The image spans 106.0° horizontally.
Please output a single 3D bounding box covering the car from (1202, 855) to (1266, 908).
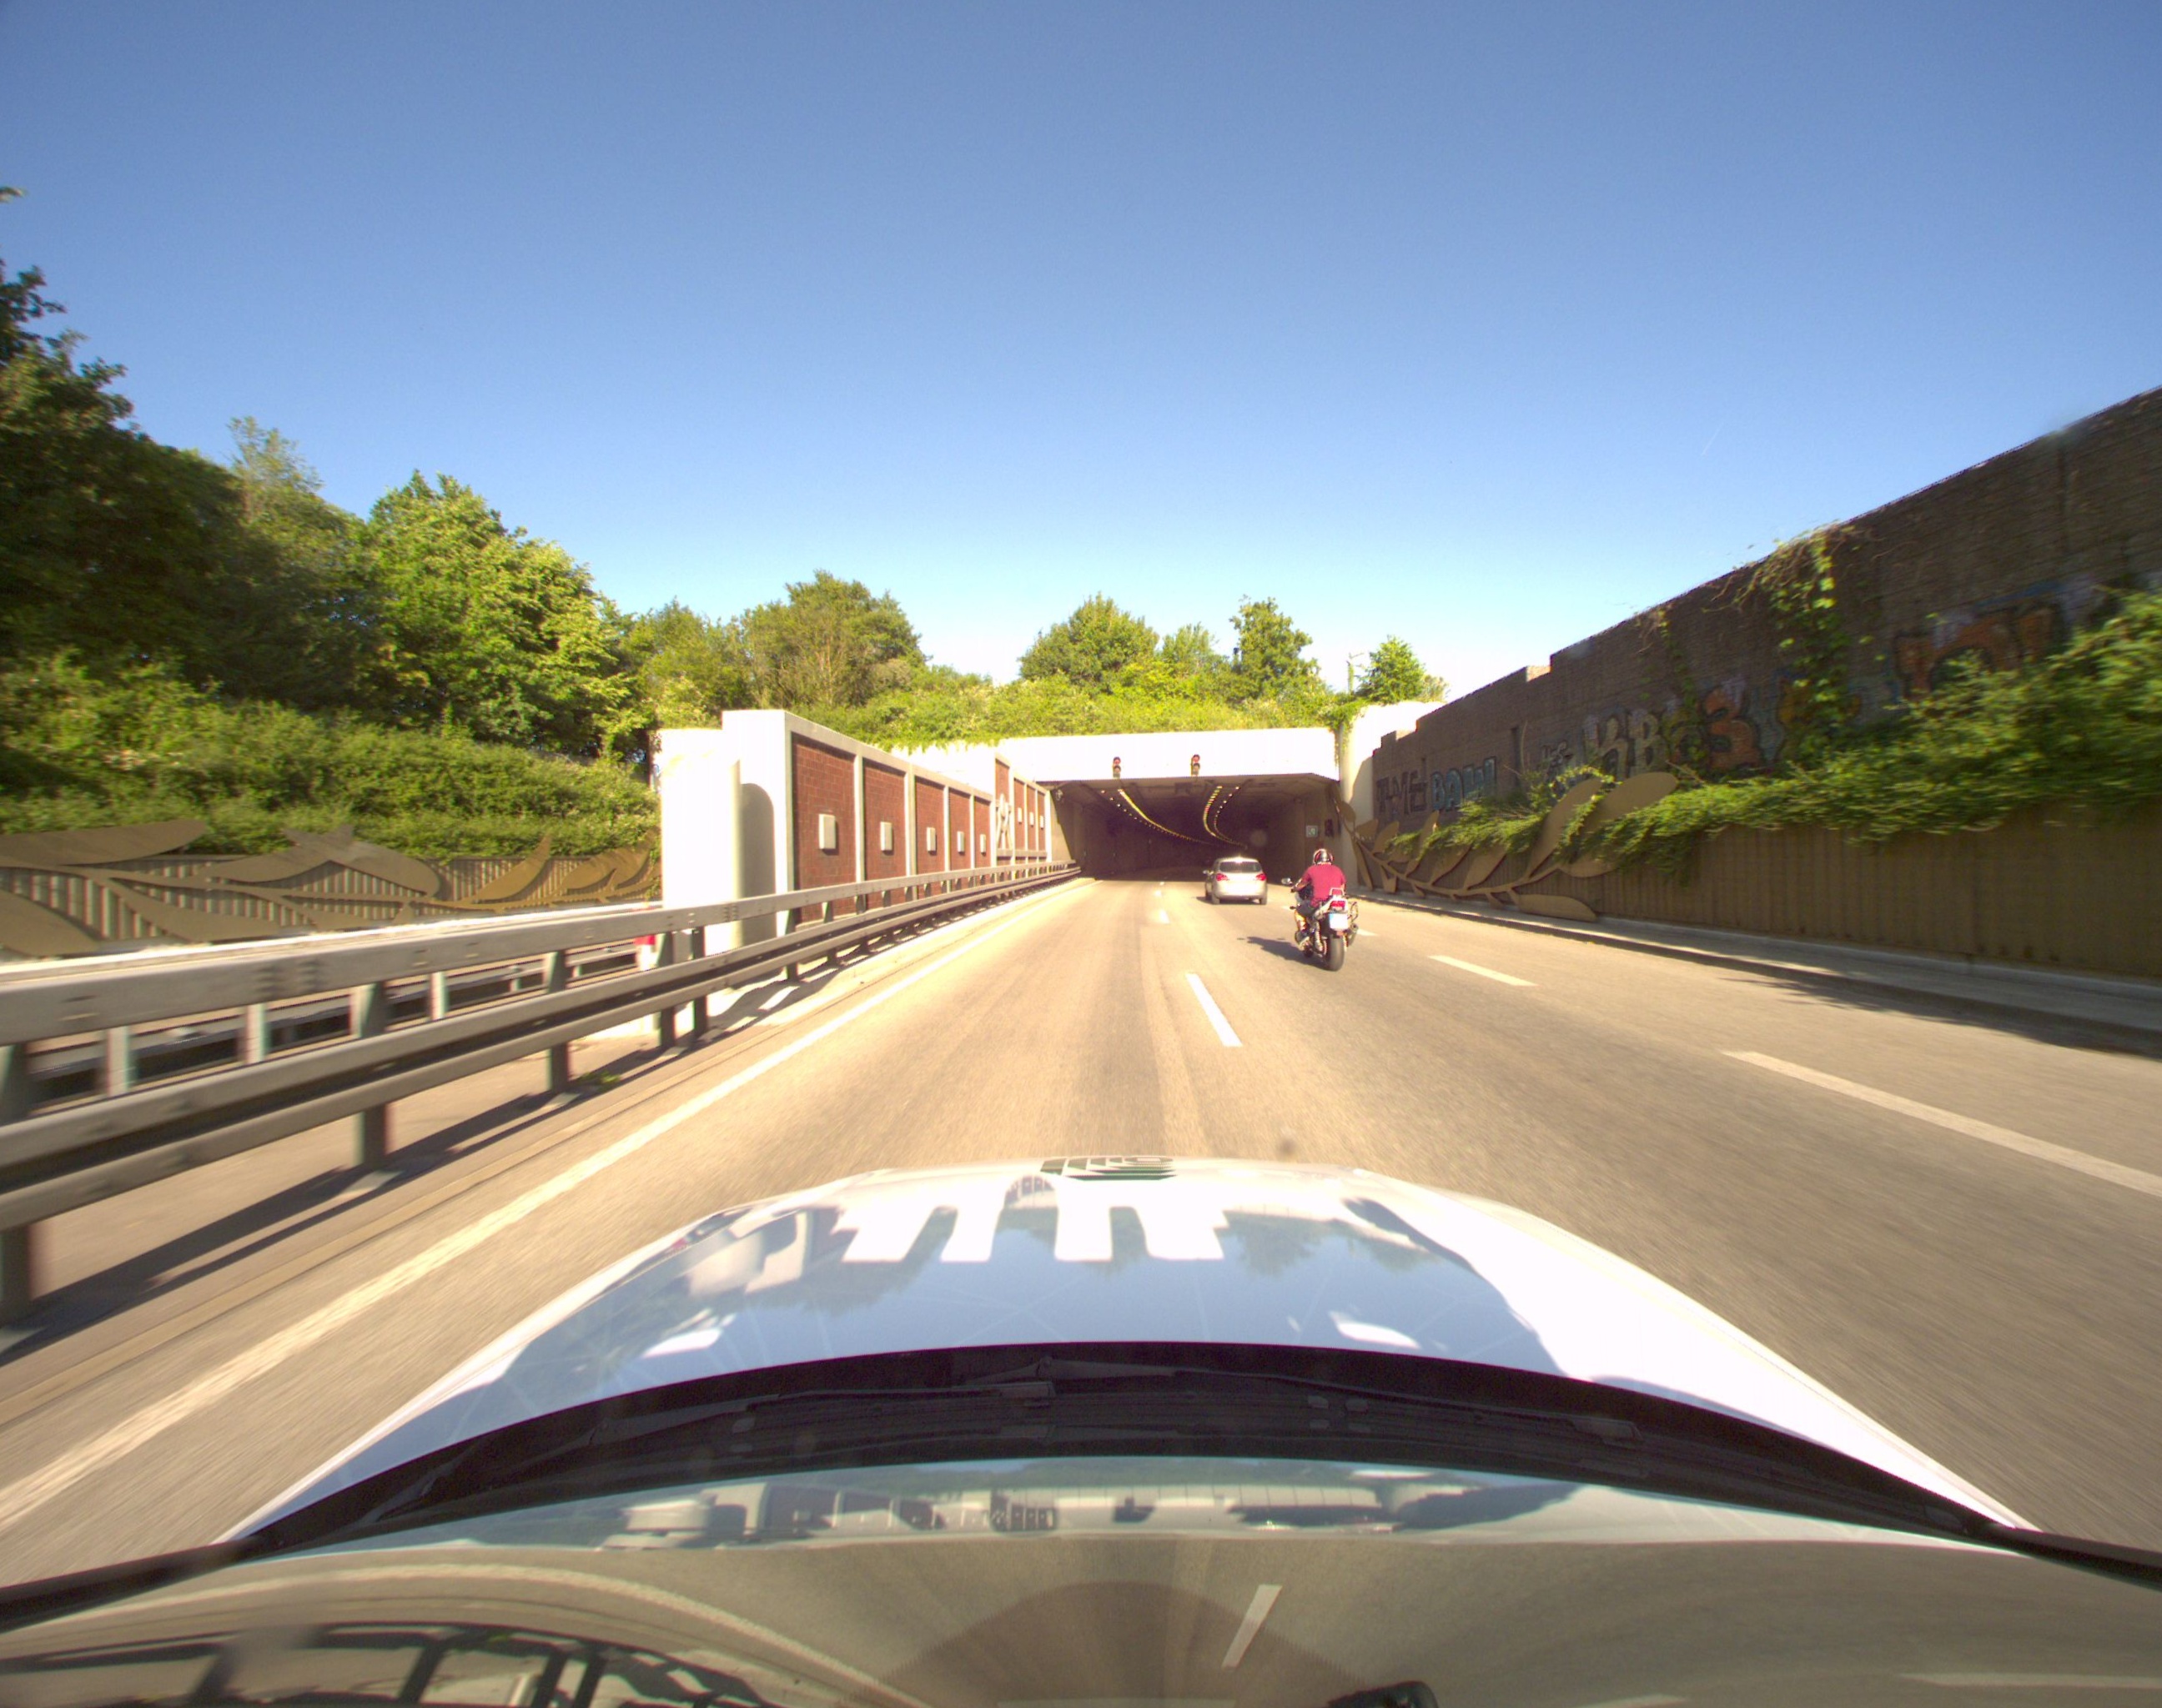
[{"bbox_3d":[4.929,0.837,26.645,1.659,1.552,4.006,1,1,5],"label":"car"}]

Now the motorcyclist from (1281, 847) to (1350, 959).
[{"bbox_3d":[3.336,0.661,11.677,0.877,1.501,1.067,1,0,13],"label":"motorcyclist"}]

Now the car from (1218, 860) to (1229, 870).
[{"bbox_3d":[29.591,2.271,169.448,1.980,1.925,4.014,0,0,13],"label":"car"}]

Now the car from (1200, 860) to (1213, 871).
[{"bbox_3d":[18.285,1.669,118.106,1.656,1.552,4.013,1,1,11],"label":"car"}]

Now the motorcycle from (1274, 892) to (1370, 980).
[{"bbox_3d":[3.369,1.093,11.650,0.854,0.991,2.733,1,-1,7],"label":"motorcycle"}]
